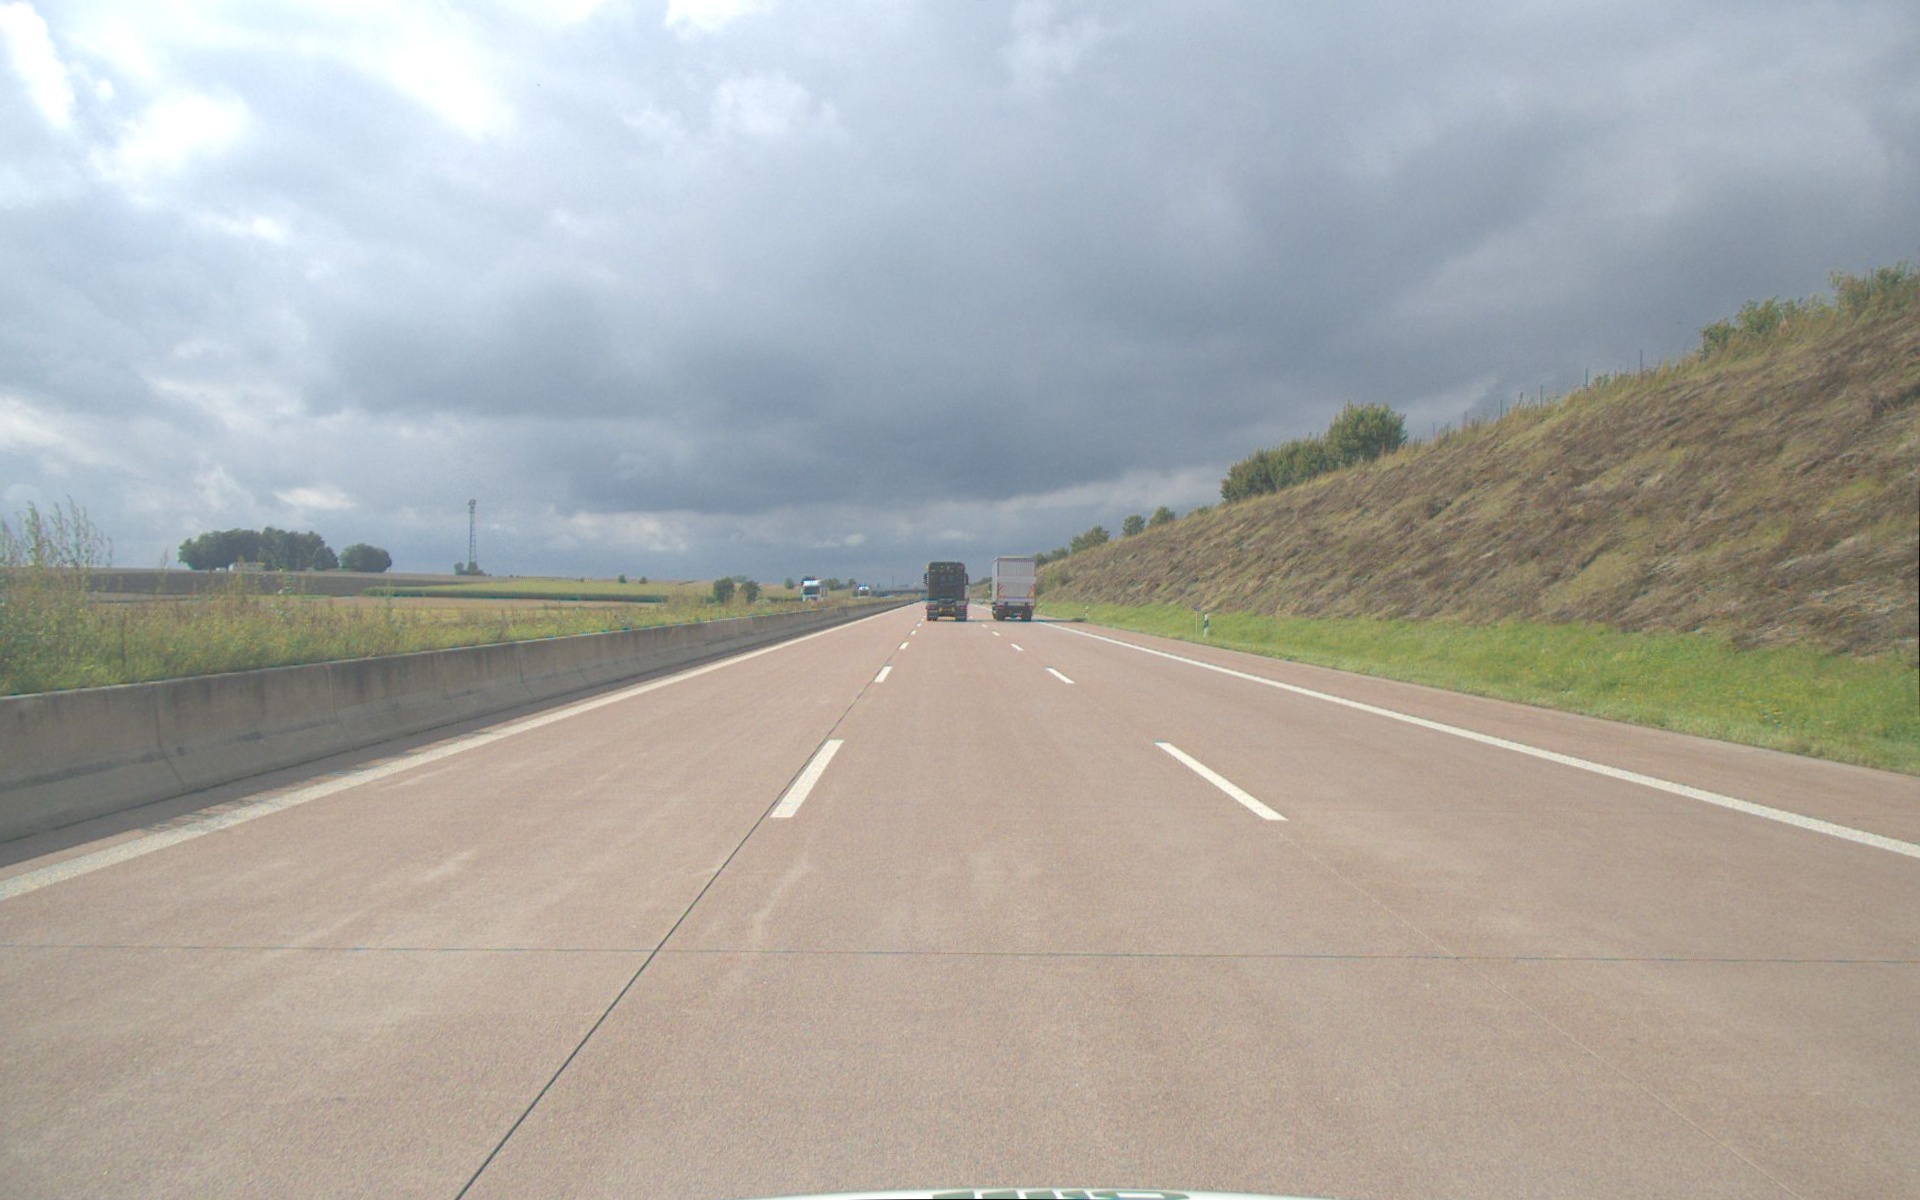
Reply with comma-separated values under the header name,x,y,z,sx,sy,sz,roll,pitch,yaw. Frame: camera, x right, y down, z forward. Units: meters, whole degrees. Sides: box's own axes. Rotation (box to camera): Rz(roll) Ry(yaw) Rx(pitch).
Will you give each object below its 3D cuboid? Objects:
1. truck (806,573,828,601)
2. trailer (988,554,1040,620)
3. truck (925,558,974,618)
name,x,y,z,sx,sy,sz,roll,pitch,yaw
truck,-20.704,-1.847,239.535,2.714,4.028,5.289,0,0,-2
trailer,3.445,-0.810,108.362,2.692,4.082,8.666,1,0,-3
truck,-0.719,-0.702,103.721,2.790,3.612,8.315,1,0,-2
